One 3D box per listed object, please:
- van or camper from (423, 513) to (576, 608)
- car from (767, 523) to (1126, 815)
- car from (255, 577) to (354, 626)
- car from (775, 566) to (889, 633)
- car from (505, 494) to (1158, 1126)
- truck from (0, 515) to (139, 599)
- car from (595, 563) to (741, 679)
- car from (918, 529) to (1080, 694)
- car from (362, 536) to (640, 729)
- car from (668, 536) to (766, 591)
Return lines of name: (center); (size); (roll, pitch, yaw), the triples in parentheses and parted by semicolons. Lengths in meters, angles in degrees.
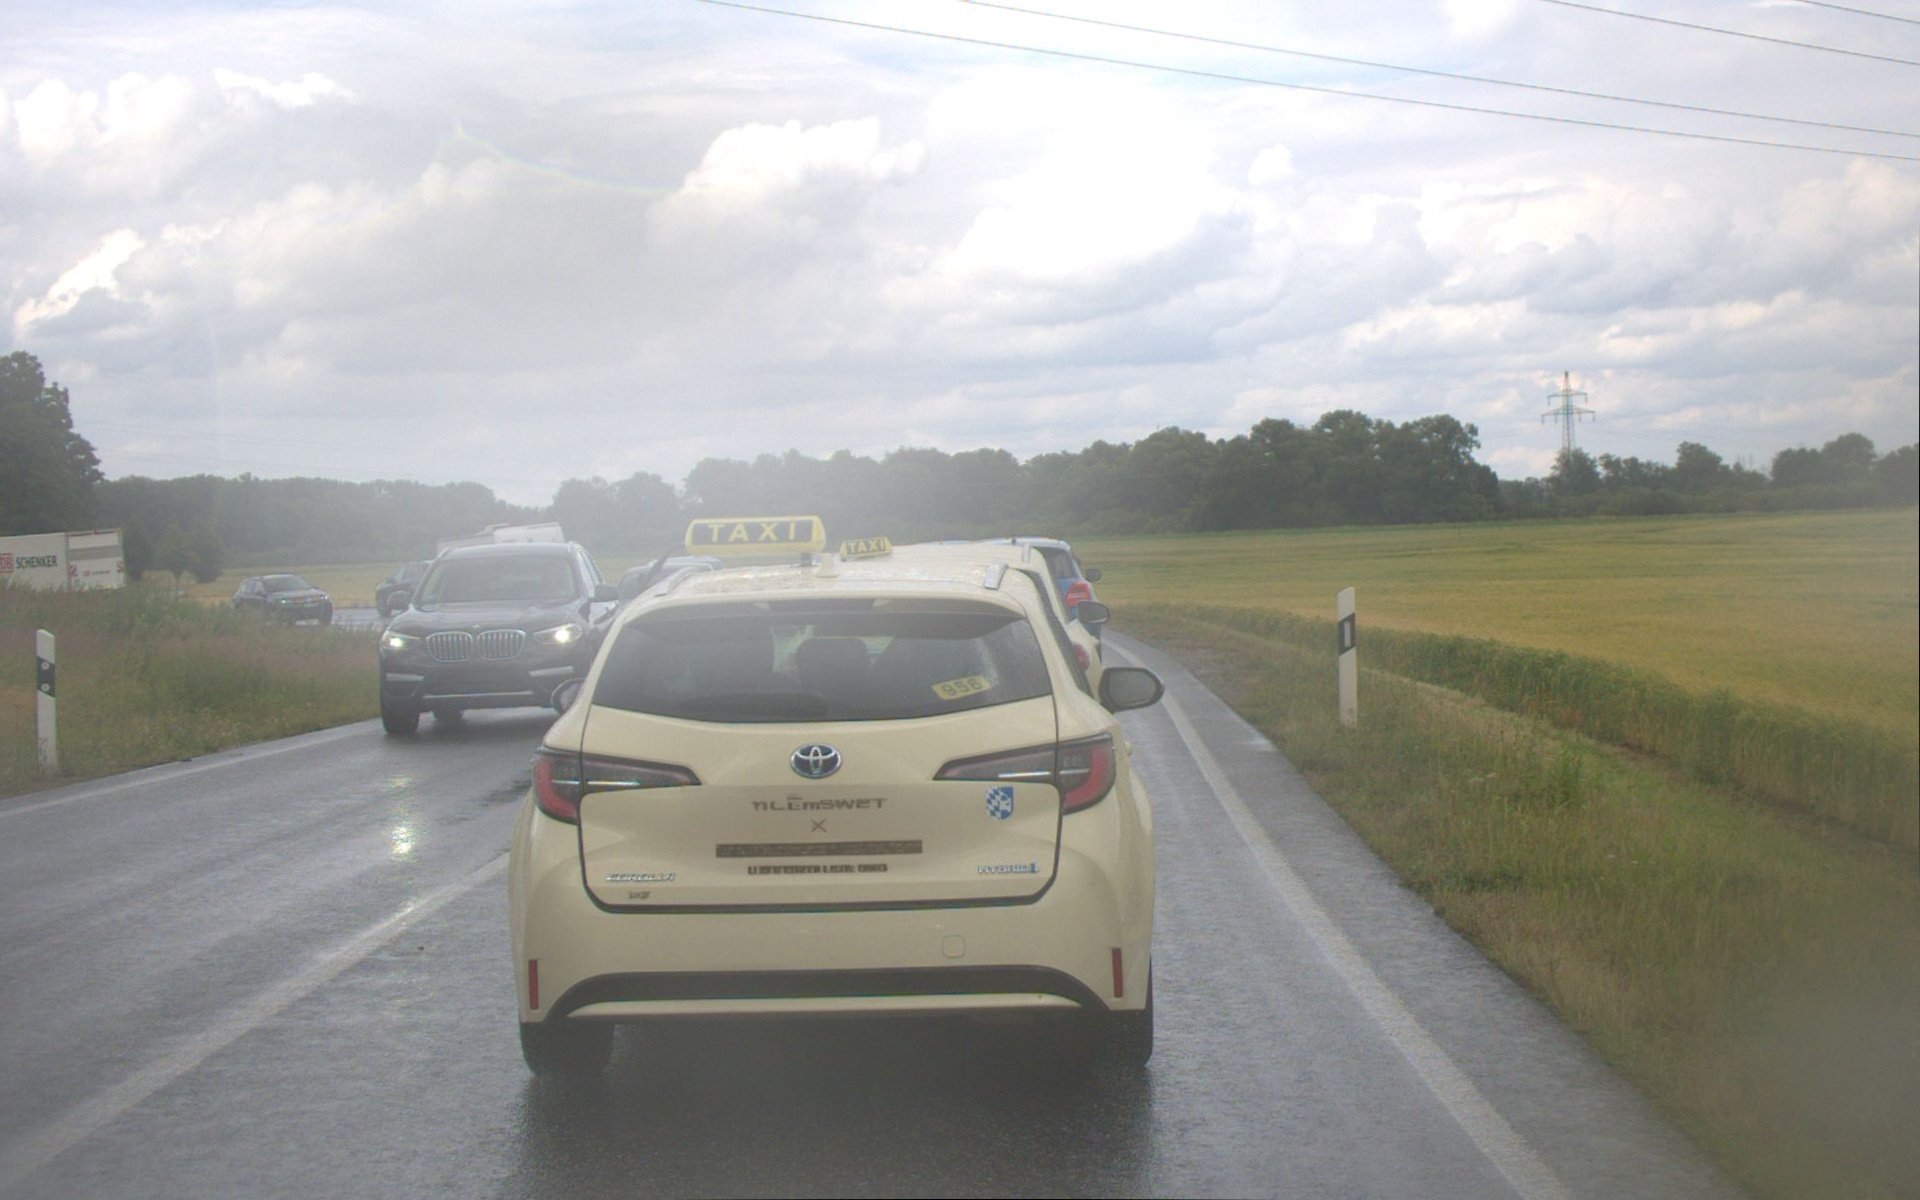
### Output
van or camper: (-14.541, -1.266, 108.240); (2.536, 2.886, 6.744); (0, 1, -28)
car: (-0.091, 0.333, 20.149); (1.841, 1.487, 4.608); (1, 1, 0)
car: (-21.477, 0.036, 112.555); (1.757, 1.554, 4.000); (1, -1, -33)
car: (-2.859, 0.003, 75.971); (1.959, 1.408, 4.393); (1, -1, -9)
car: (-0.288, 0.541, 10.477); (1.613, 1.557, 3.738); (1, -1, 1)
truck: (-36.355, -1.680, 137.201); (8.227, 3.198, 3.015); (0, -1, 44)
car: (-3.908, 0.248, 46.503); (1.848, 1.443, 4.091); (-1, 1, -4)
car: (0.371, 0.131, 36.839); (1.613, 1.653, 3.738); (1, -1, -1)
car: (-4.137, 0.248, 31.660); (1.849, 1.626, 4.534); (-1, 1, 1)
car: (-6.554, -0.963, 92.486); (1.783, 1.408, 3.739); (1, -1, -18)
